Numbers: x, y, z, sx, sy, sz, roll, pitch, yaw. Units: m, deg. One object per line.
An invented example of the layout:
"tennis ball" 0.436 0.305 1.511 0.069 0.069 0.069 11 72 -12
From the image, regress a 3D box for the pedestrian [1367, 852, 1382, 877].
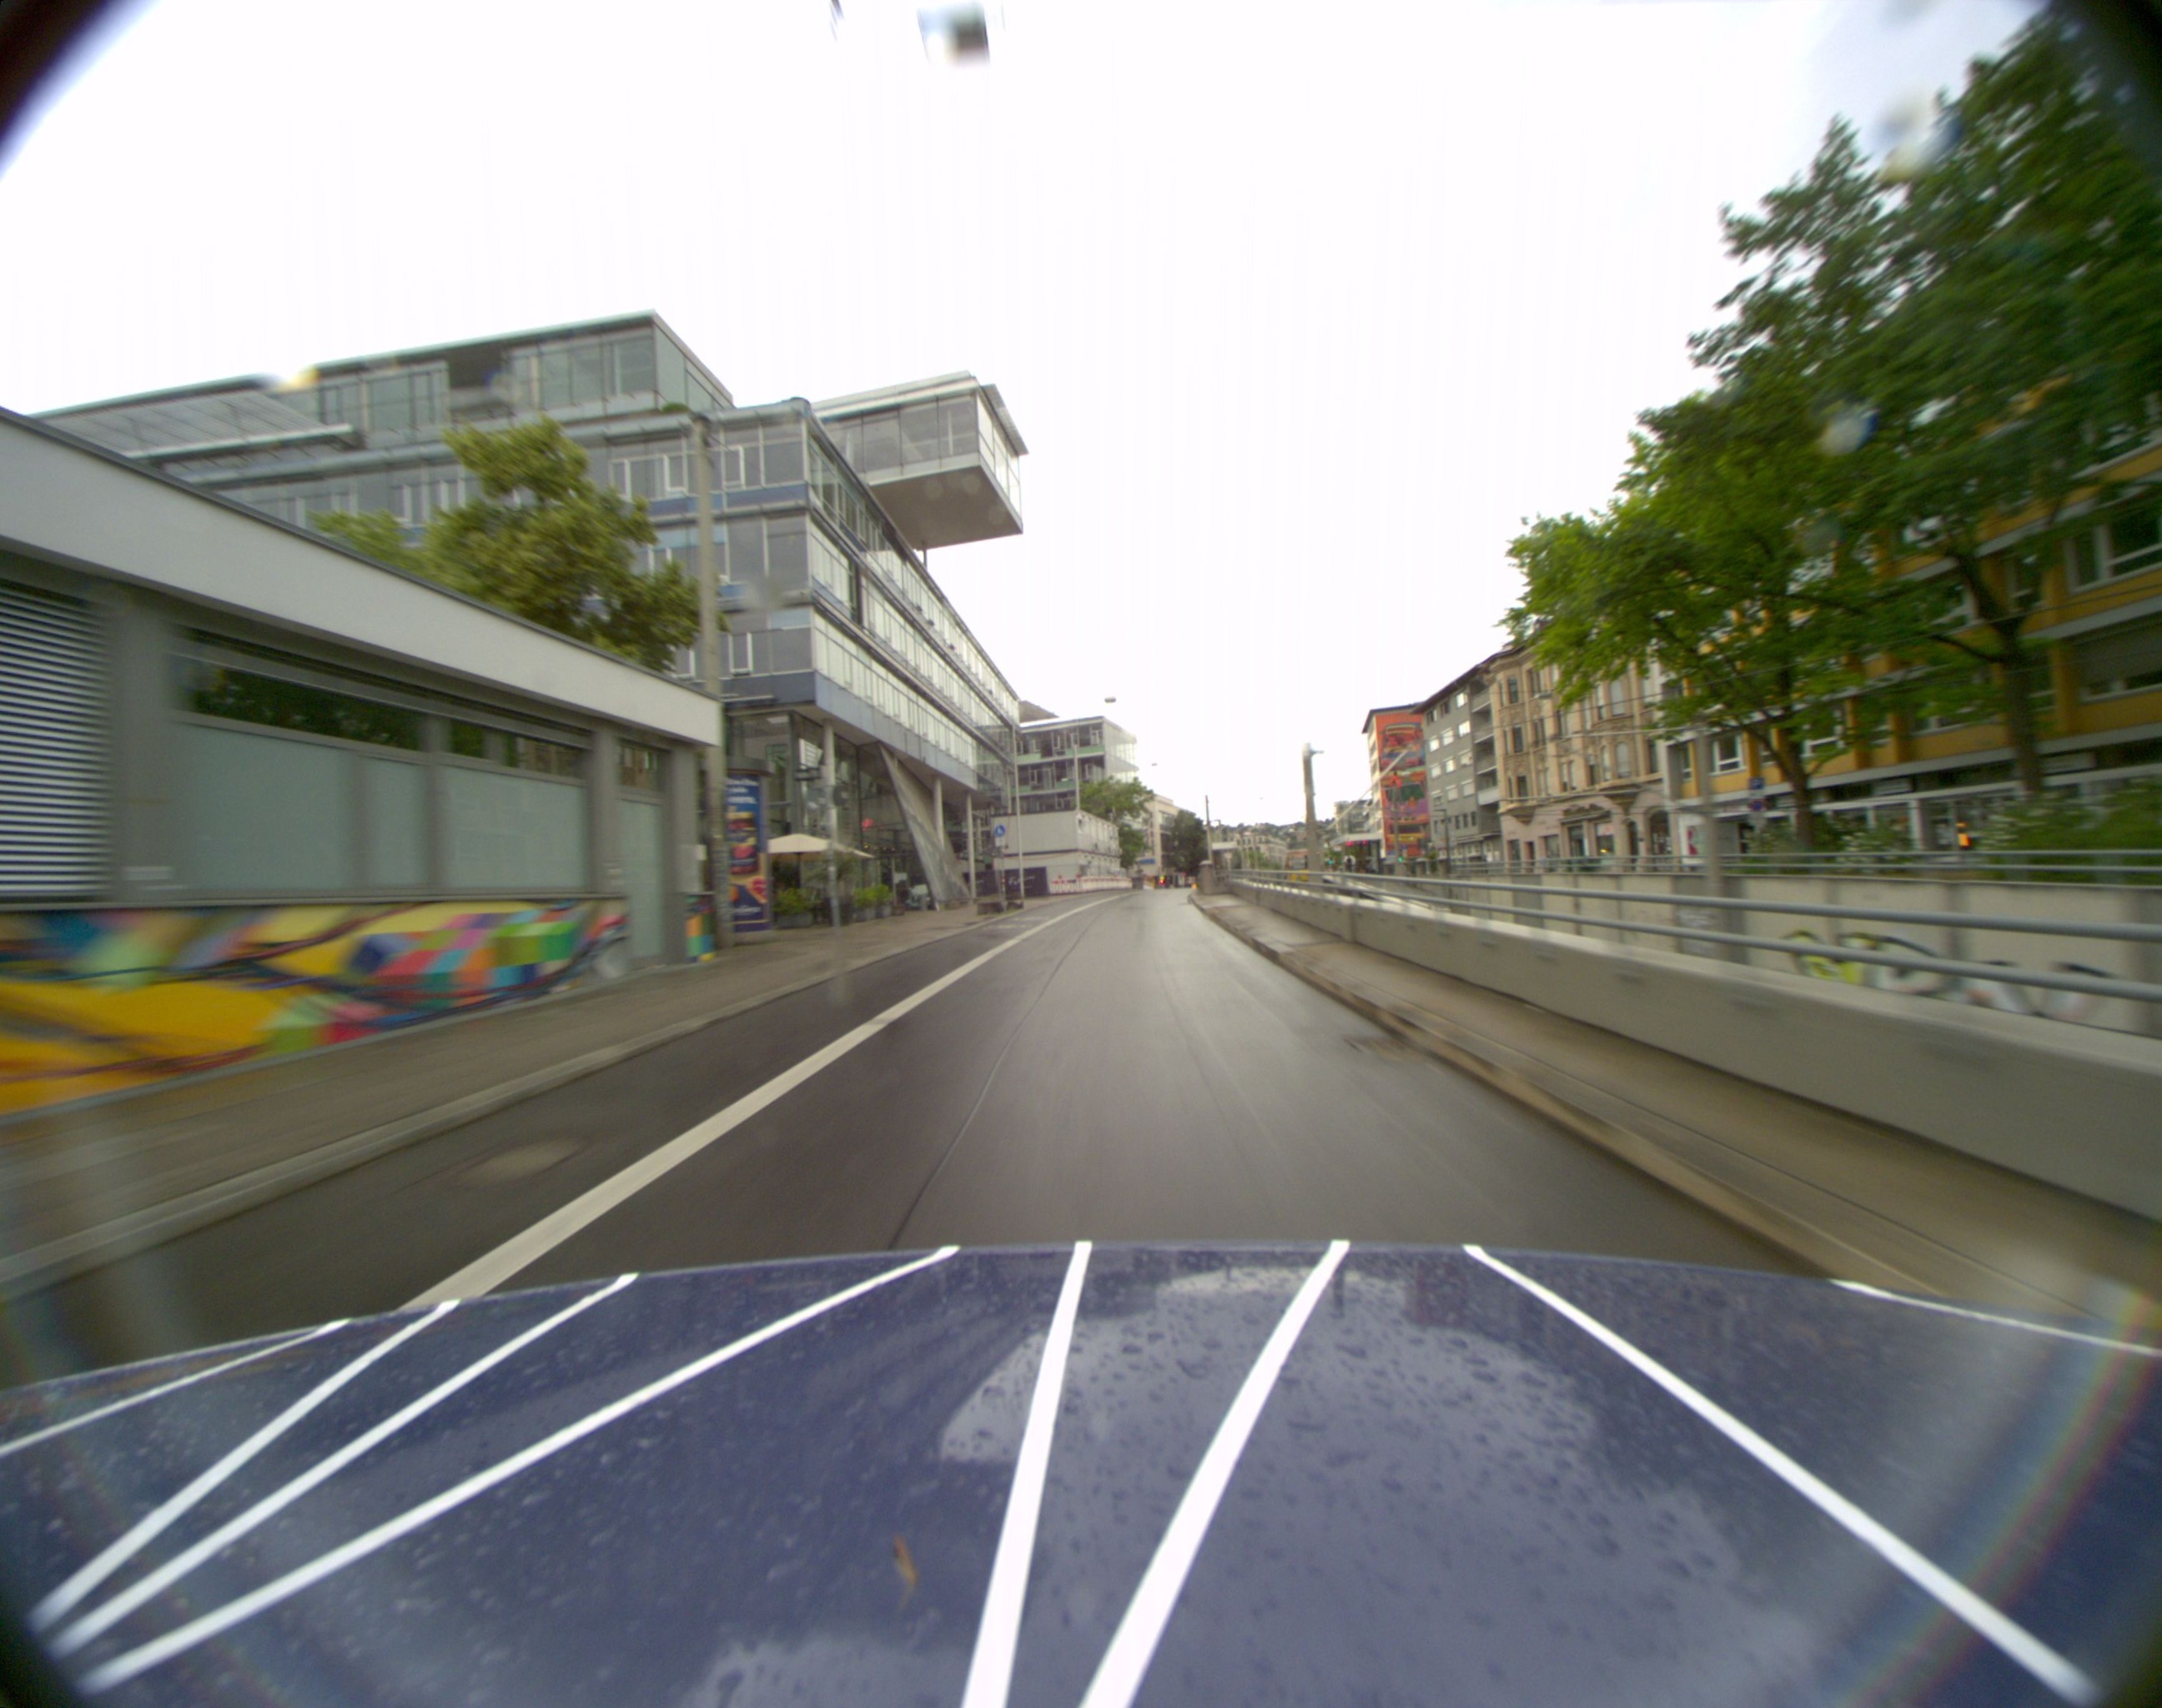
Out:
"pedestrian" 19.799 0.697 51.269 0.772 1.639 0.778 2 0 17

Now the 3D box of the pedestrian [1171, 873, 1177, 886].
"pedestrian" 13.148 3.586 107.429 0.719 1.750 0.960 -3 -3 8

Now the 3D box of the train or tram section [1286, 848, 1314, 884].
"train or tram section" 26.201 1.571 91.187 2.783 3.667 9.731 -5 -4 15

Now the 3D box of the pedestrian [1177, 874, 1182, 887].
"pedestrian" 13.996 3.757 107.975 0.719 1.750 0.960 -3 -3 8

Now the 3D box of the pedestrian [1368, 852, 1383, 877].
"pedestrian" 19.563 0.683 50.454 0.772 1.639 0.778 2 0 17

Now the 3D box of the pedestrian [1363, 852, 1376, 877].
"pedestrian" 18.808 0.680 49.574 0.678 1.639 0.897 2 0 17

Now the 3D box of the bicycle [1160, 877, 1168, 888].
"bicycle" 9.141 3.139 83.388 0.663 1.045 2.060 -1 -5 11

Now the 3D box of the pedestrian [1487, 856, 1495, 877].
"pedestrian" 33.583 1.013 62.221 0.422 1.672 0.609 -5 -3 24

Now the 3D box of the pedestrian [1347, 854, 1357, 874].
"pedestrian" 21.506 0.779 60.296 0.558 1.527 0.517 -3 -2 13

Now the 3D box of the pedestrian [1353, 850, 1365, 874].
"pedestrian" 19.843 0.596 54.165 0.633 1.650 0.684 -4 -2 16

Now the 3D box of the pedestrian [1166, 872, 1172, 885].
"pedestrian" 12.595 3.529 108.427 0.598 1.750 0.846 -3 -3 15

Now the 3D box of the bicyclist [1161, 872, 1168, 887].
"bicyclist" 9.136 2.818 83.401 0.663 1.628 0.794 1 -4 11
